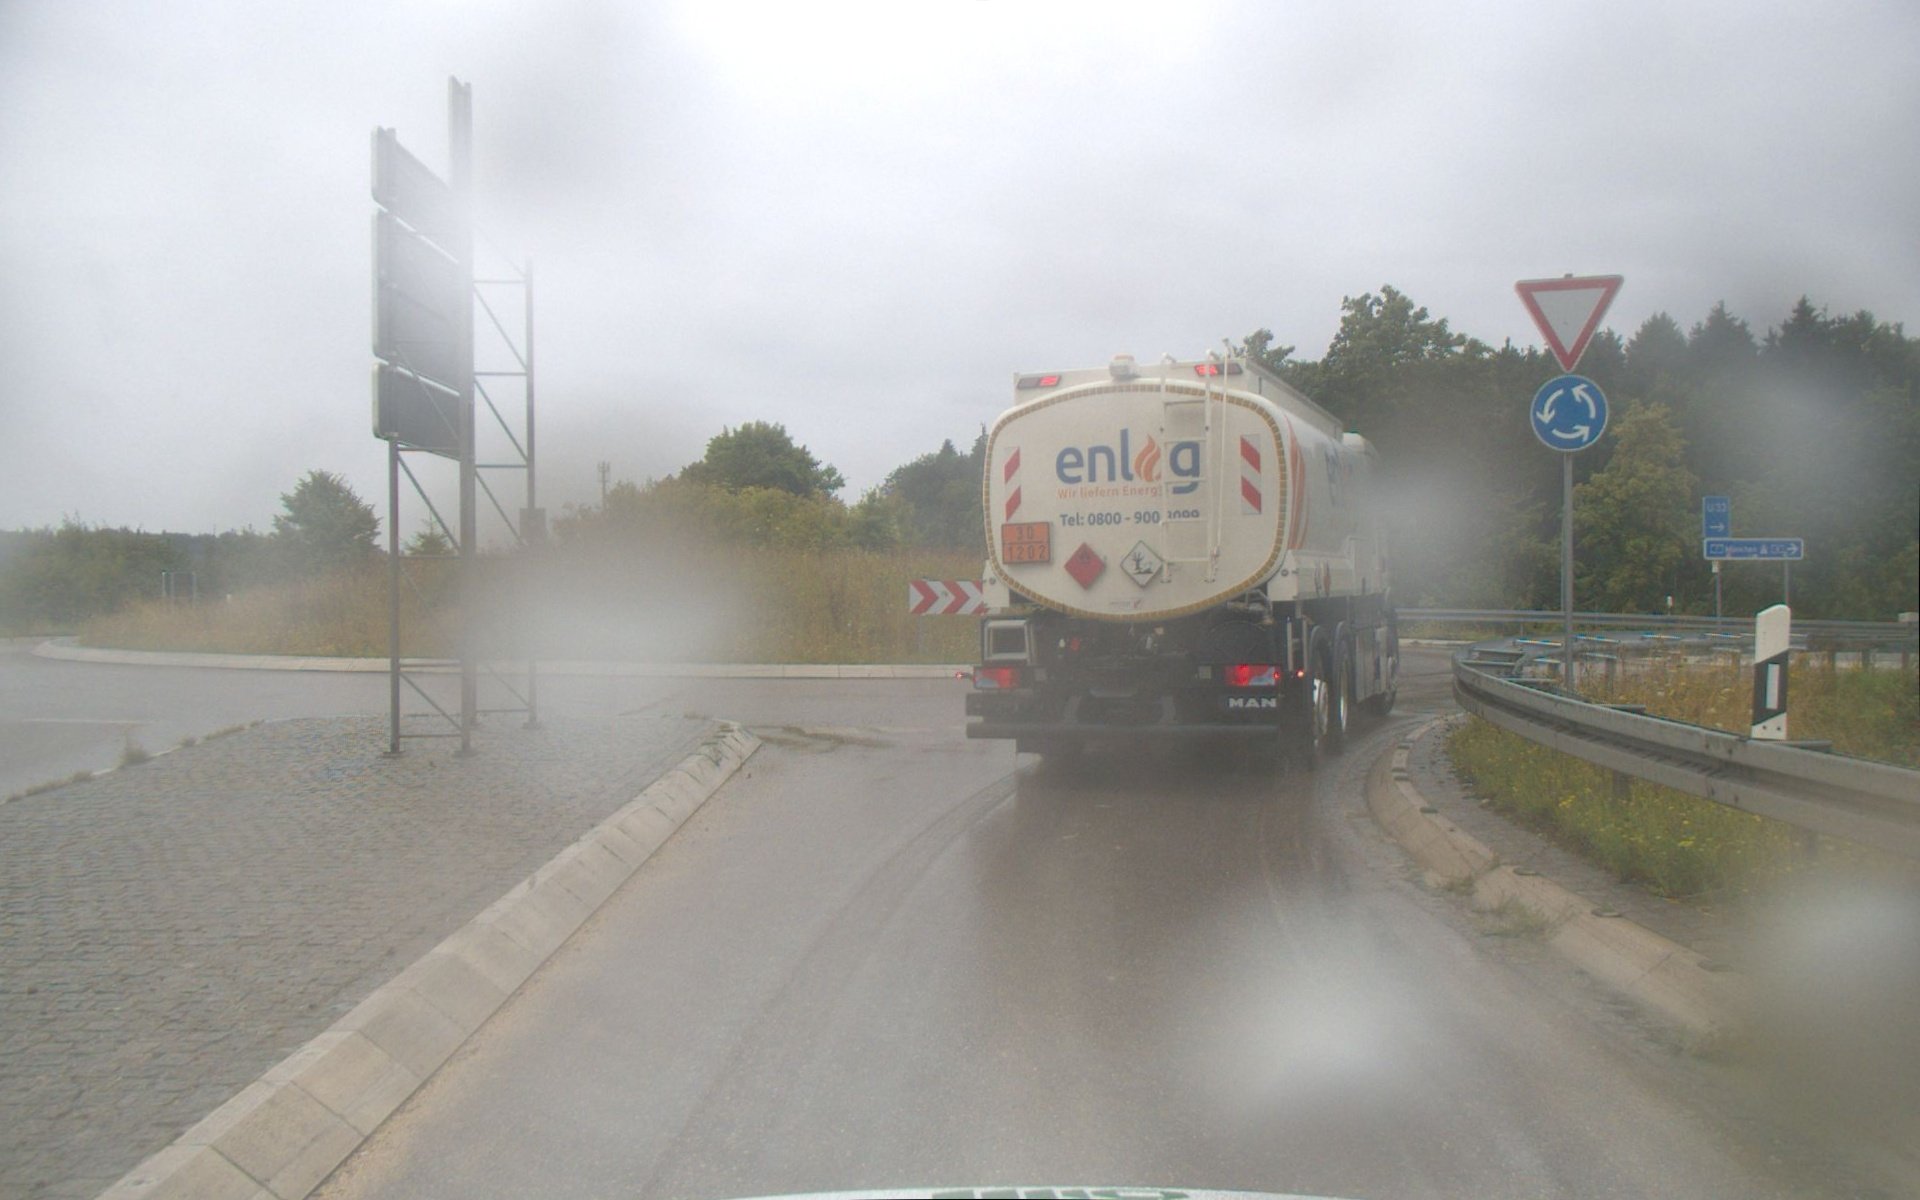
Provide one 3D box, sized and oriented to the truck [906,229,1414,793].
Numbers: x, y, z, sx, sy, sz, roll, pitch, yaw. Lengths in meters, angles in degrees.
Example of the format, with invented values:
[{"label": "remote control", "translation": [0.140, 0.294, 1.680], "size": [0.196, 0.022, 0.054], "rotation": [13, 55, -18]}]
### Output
[{"label": "truck", "translation": [2.513, -0.630, 16.167], "size": [2.976, 3.919, 8.824], "rotation": [1, 0, 20]}]
